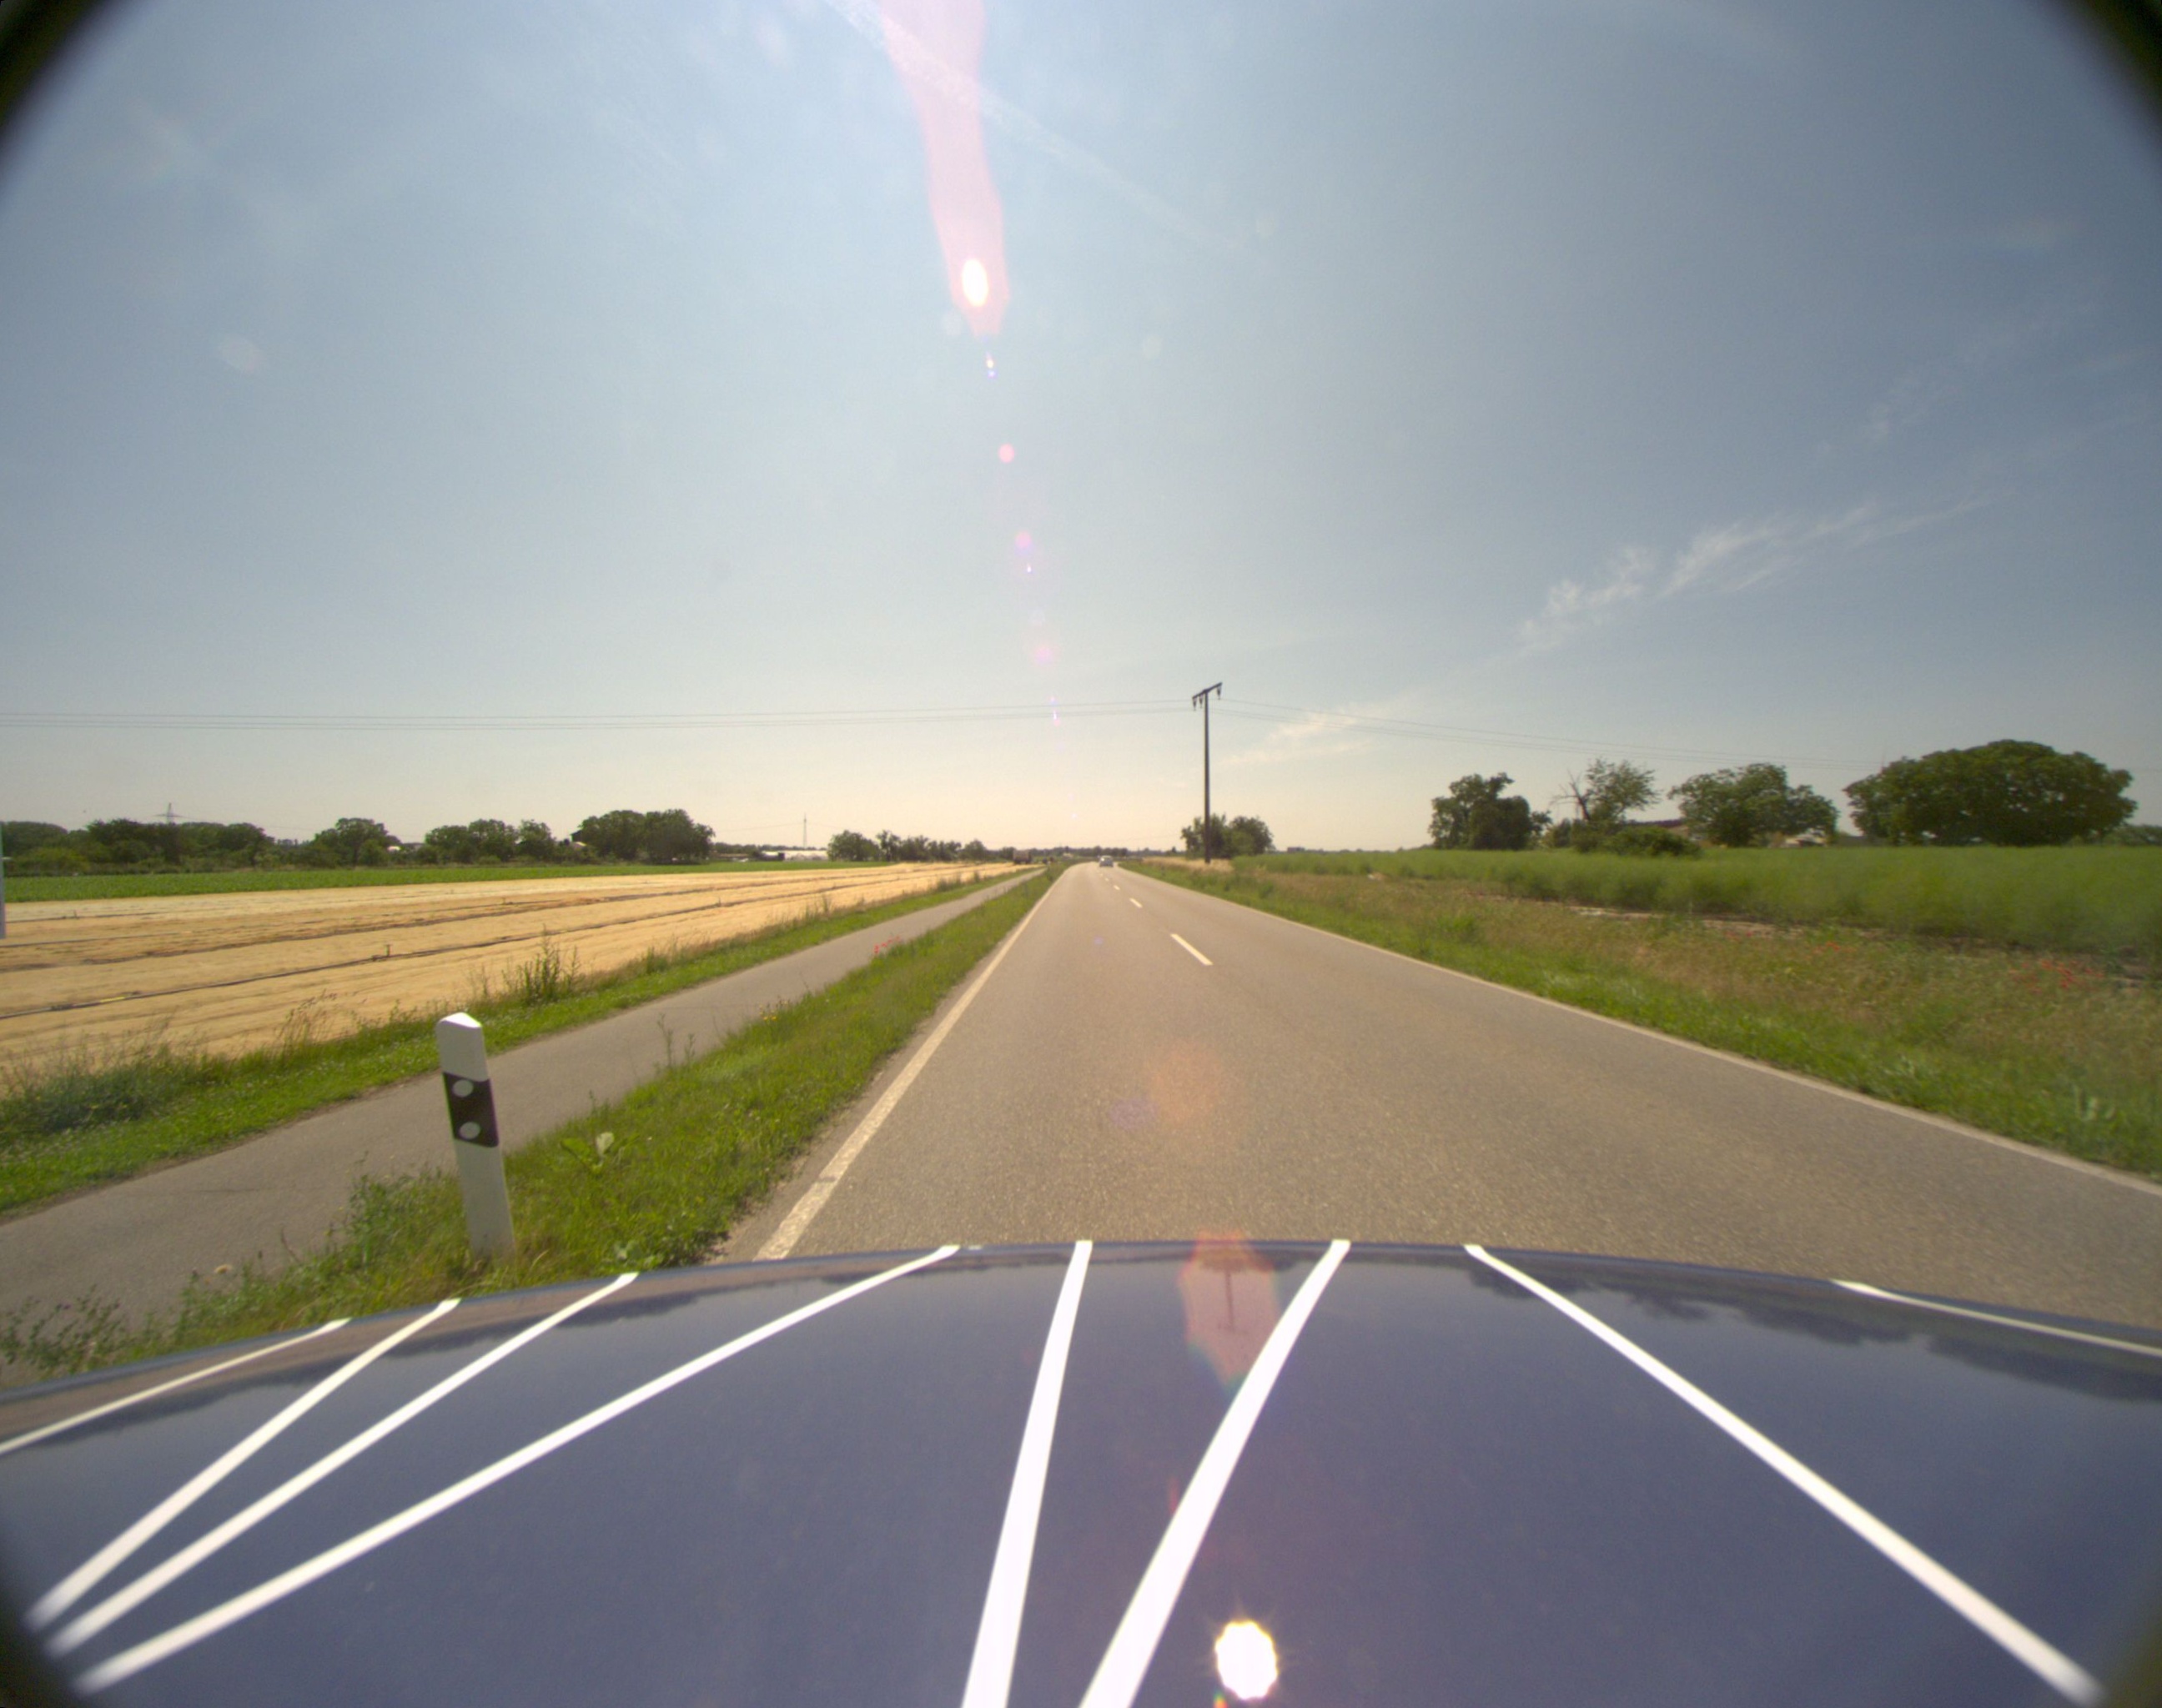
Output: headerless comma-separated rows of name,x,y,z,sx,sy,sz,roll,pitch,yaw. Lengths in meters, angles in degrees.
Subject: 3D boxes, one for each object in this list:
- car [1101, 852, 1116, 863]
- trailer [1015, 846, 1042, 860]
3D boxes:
car,3.657,0.442,100.613,1.796,1.401,4.185,1,1,0
trailer,-11.333,-0.279,163.597,5.283,2.936,2.002,1,2,20
